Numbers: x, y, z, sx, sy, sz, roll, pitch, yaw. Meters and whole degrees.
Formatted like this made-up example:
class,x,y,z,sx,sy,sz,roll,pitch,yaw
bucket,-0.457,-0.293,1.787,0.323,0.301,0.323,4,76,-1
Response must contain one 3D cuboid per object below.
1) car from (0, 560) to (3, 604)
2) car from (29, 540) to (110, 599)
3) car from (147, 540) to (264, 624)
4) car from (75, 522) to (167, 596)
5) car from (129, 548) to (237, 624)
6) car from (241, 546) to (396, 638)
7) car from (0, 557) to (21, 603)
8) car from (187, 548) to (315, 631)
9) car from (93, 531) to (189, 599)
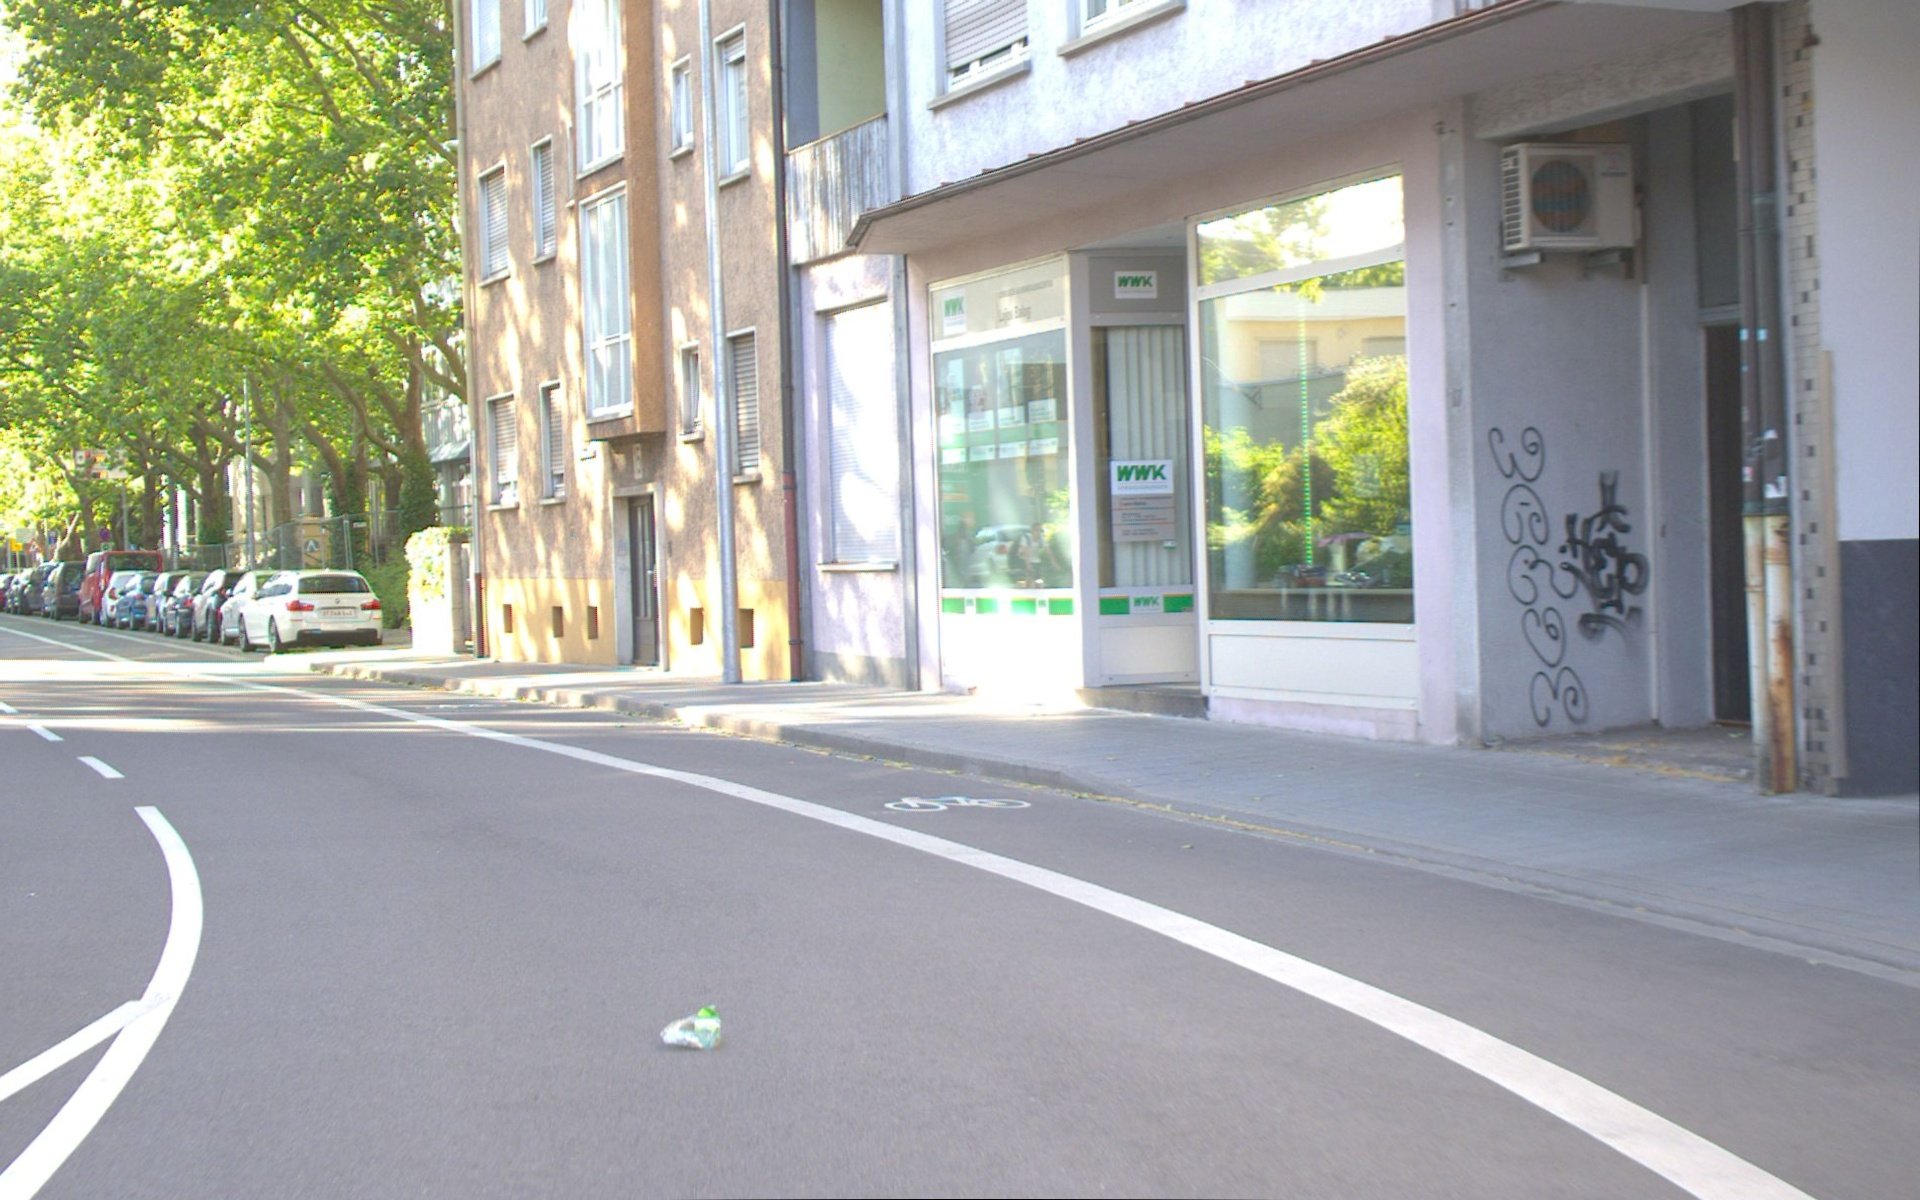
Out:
class,x,y,z,sx,sy,sz,roll,pitch,yaw
car,-39.613,-0.689,137.991,2.032,1.736,4.095,-2,1,-19
car,-27.394,-0.942,105.630,2.032,1.736,4.095,-2,1,-19
car,-16.835,-0.408,76.568,2.032,1.753,4.095,-2,1,-19
car,-23.174,-1.128,94.827,2.032,1.927,4.095,-2,1,-19
car,-18.659,-0.344,82.433,2.032,1.713,4.095,-2,1,-19
car,-11.255,-0.158,60.147,2.032,1.499,4.095,-2,1,-19
car,-37.130,-0.745,131.449,2.032,1.736,4.095,-2,1,-19
car,-14.652,-0.224,70.902,2.032,1.611,4.095,-2,1,-19
car,-21.671,-0.935,90.859,2.032,1.713,4.095,-2,1,-19
